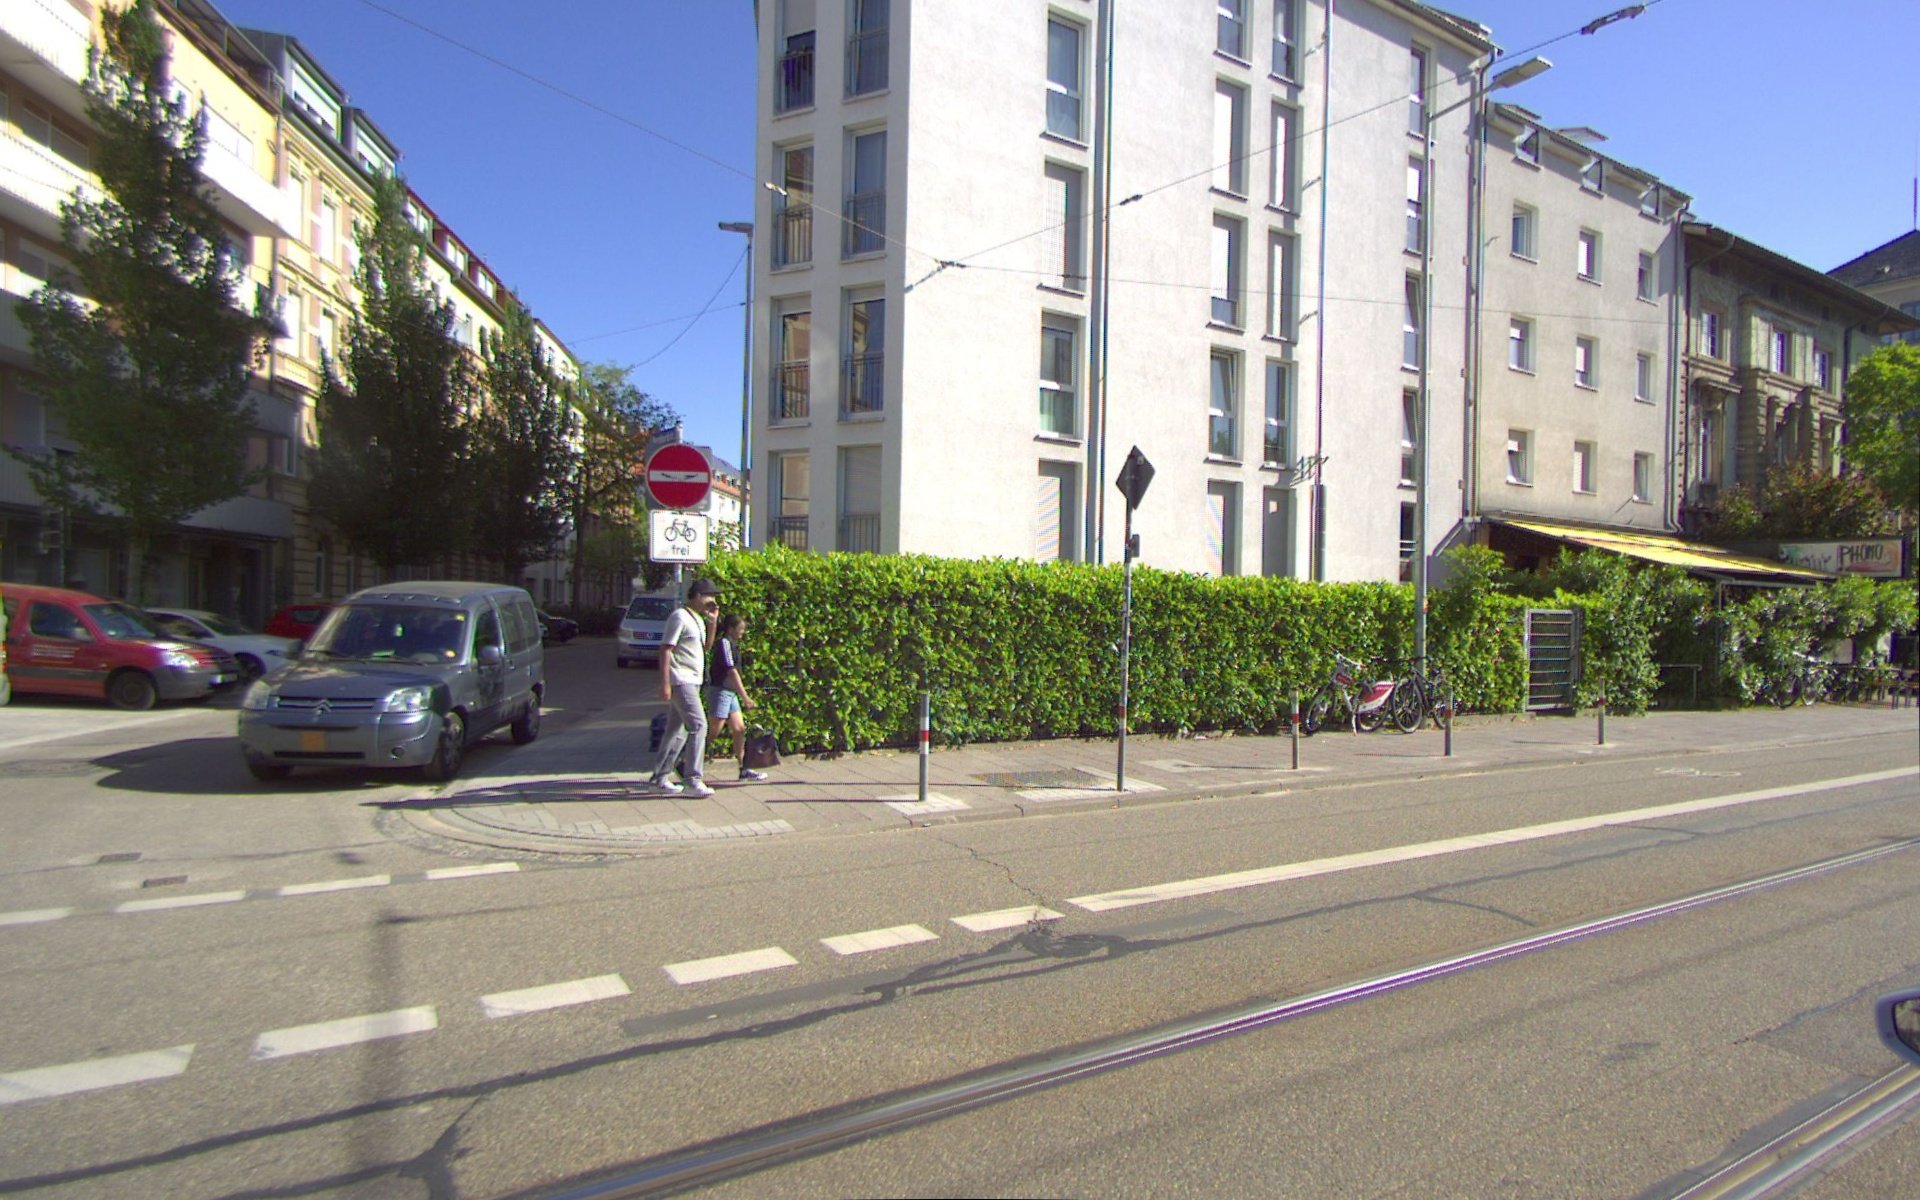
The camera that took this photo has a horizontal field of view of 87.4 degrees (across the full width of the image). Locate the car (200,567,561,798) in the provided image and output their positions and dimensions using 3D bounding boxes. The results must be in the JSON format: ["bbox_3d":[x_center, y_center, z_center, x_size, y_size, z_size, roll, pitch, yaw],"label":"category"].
[{"bbox_3d":[-5.500,0.725,10.210,1.759,1.831,4.048,2,-1,-9],"label":"car"}]

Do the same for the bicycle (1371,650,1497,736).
[{"bbox_3d":[6.758,1.308,14.298,1.819,1.104,0.658,2,2,-30],"label":"bicycle"}]

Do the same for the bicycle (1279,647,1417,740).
[{"bbox_3d":[5.163,1.223,13.325,1.819,1.104,0.658,2,2,-30],"label":"bicycle"}]

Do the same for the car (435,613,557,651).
[{"bbox_3d":[-16.972,1.168,36.864,3.788,1.202,1.389,2,-1,-9],"label":"car"}]

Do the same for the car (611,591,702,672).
[{"bbox_3d":[-8.276,0.839,27.679,1.782,2.006,3.994,2,-1,-9],"label":"car"}]

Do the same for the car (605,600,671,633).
[{"bbox_3d":[-21.836,1.144,68.238,3.928,2.040,1.997,2,-1,-9],"label":"car"}]

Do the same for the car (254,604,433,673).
[{"bbox_3d":[-15.706,0.978,25.731,3.549,1.574,1.389,3,-1,-9],"label":"car"}]

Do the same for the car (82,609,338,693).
[{"bbox_3d":[-14.221,0.958,19.221,3.529,1.419,1.573,2,-1,-9],"label":"car"}]

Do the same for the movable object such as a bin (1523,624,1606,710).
[{"bbox_3d":[10.759,1.170,17.880,1.244,1.476,0.802,1,-1,-32],"label":"movable object such as a bin"}]

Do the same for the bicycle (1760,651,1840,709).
[{"bbox_3d":[17.025,1.600,20.350,1.722,1.073,0.635,1,2,-30],"label":"bicycle"}]

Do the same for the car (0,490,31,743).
[{"bbox_3d":[-13.072,0.090,10.331,4.702,2.878,1.888,3,-1,-14],"label":"car"}]

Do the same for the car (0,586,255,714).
[{"bbox_3d":[-12.964,0.741,15.266,3.284,1.775,1.450,3,-1,-11],"label":"car"}]

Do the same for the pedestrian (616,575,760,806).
[{"bbox_3d":[-2.204,0.686,8.157,0.794,1.737,0.755,3,1,32],"label":"pedestrian"}]

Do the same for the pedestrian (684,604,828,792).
[{"bbox_3d":[-1.781,0.802,8.770,0.940,1.497,0.755,3,1,32],"label":"pedestrian"}]

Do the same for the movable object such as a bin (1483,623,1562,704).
[{"bbox_3d":[10.577,1.169,18.882,1.244,1.476,0.802,1,-1,-32],"label":"movable object such as a bin"}]
